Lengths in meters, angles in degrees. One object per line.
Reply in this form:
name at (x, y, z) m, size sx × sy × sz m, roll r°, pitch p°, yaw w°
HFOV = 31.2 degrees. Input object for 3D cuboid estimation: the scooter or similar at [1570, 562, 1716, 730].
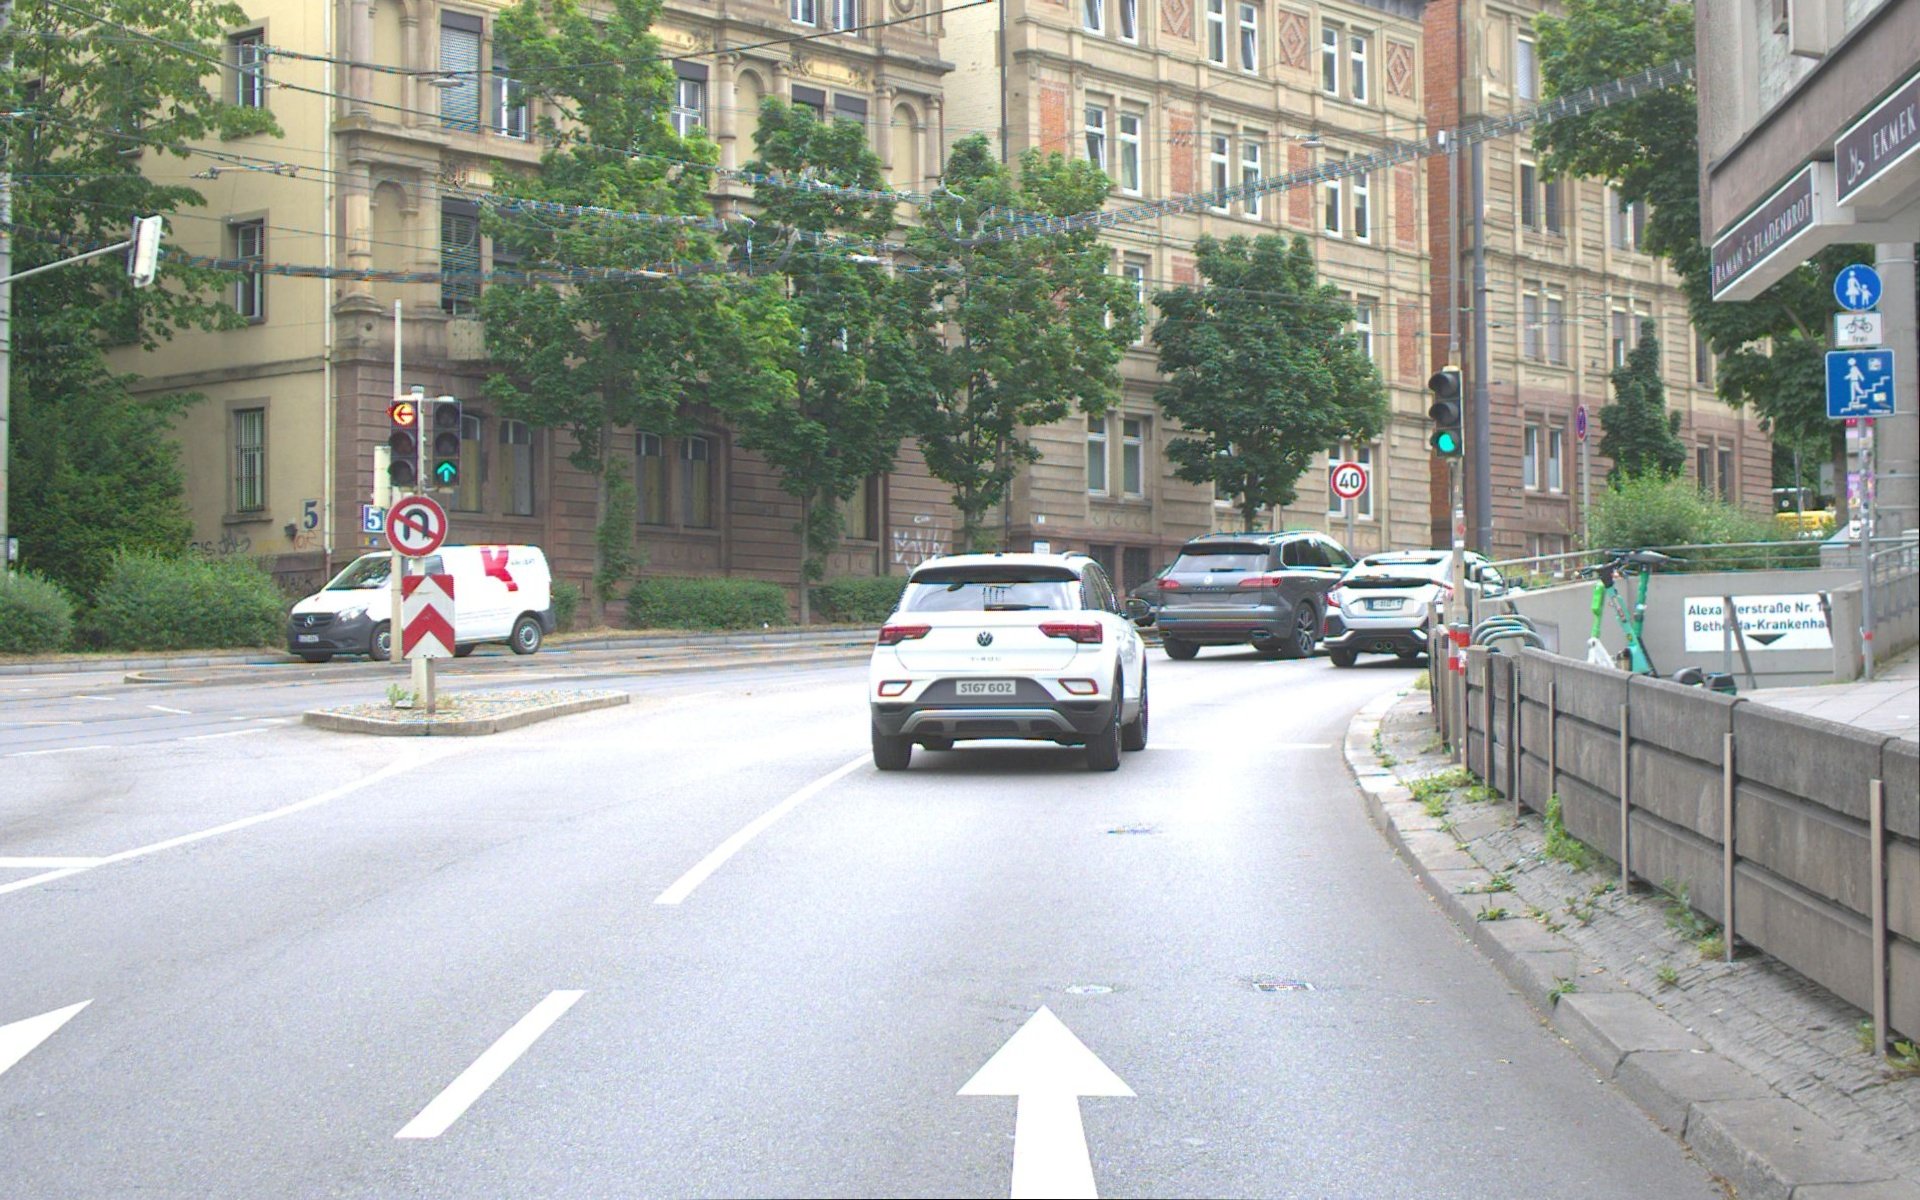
scooter or similar at (4.904, 0.321, 24.661) m, size 1.007 × 1.178 × 0.376 m, roll -1°, pitch 0°, yaw -28°

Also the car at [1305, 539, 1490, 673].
car at (5.552, 0.081, 43.270) m, size 1.904 × 1.568 × 3.832 m, roll 1°, pitch 0°, yaw 13°

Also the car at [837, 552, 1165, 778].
car at (0.397, 0.441, 25.853) m, size 1.939 × 1.561 × 4.045 m, roll 0°, pitch 0°, yaw 8°

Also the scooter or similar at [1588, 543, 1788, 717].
scooter or similar at (5.546, 0.215, 26.182) m, size 1.441 × 1.250 × 0.557 m, roll -3°, pitch 1°, yaw -28°

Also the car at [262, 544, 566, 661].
car at (-9.191, 0.038, 58.229) m, size 1.998 × 1.843 × 4.981 m, roll -3°, pitch -2°, yaw 39°

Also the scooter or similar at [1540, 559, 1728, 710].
scooter or similar at (5.446, 0.268, 27.768) m, size 1.441 × 1.178 × 0.583 m, roll -1°, pitch 0°, yaw -28°

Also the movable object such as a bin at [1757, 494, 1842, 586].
movable object such as a bin at (26.997, -1.920, 110.527) m, size 1.997 × 2.828 × 2.026 m, roll -2°, pitch -1°, yaw 34°

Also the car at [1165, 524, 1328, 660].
car at (3.913, -0.145, 46.446) m, size 1.840 × 1.734 × 3.999 m, roll 0°, pitch 2°, yaw 10°
